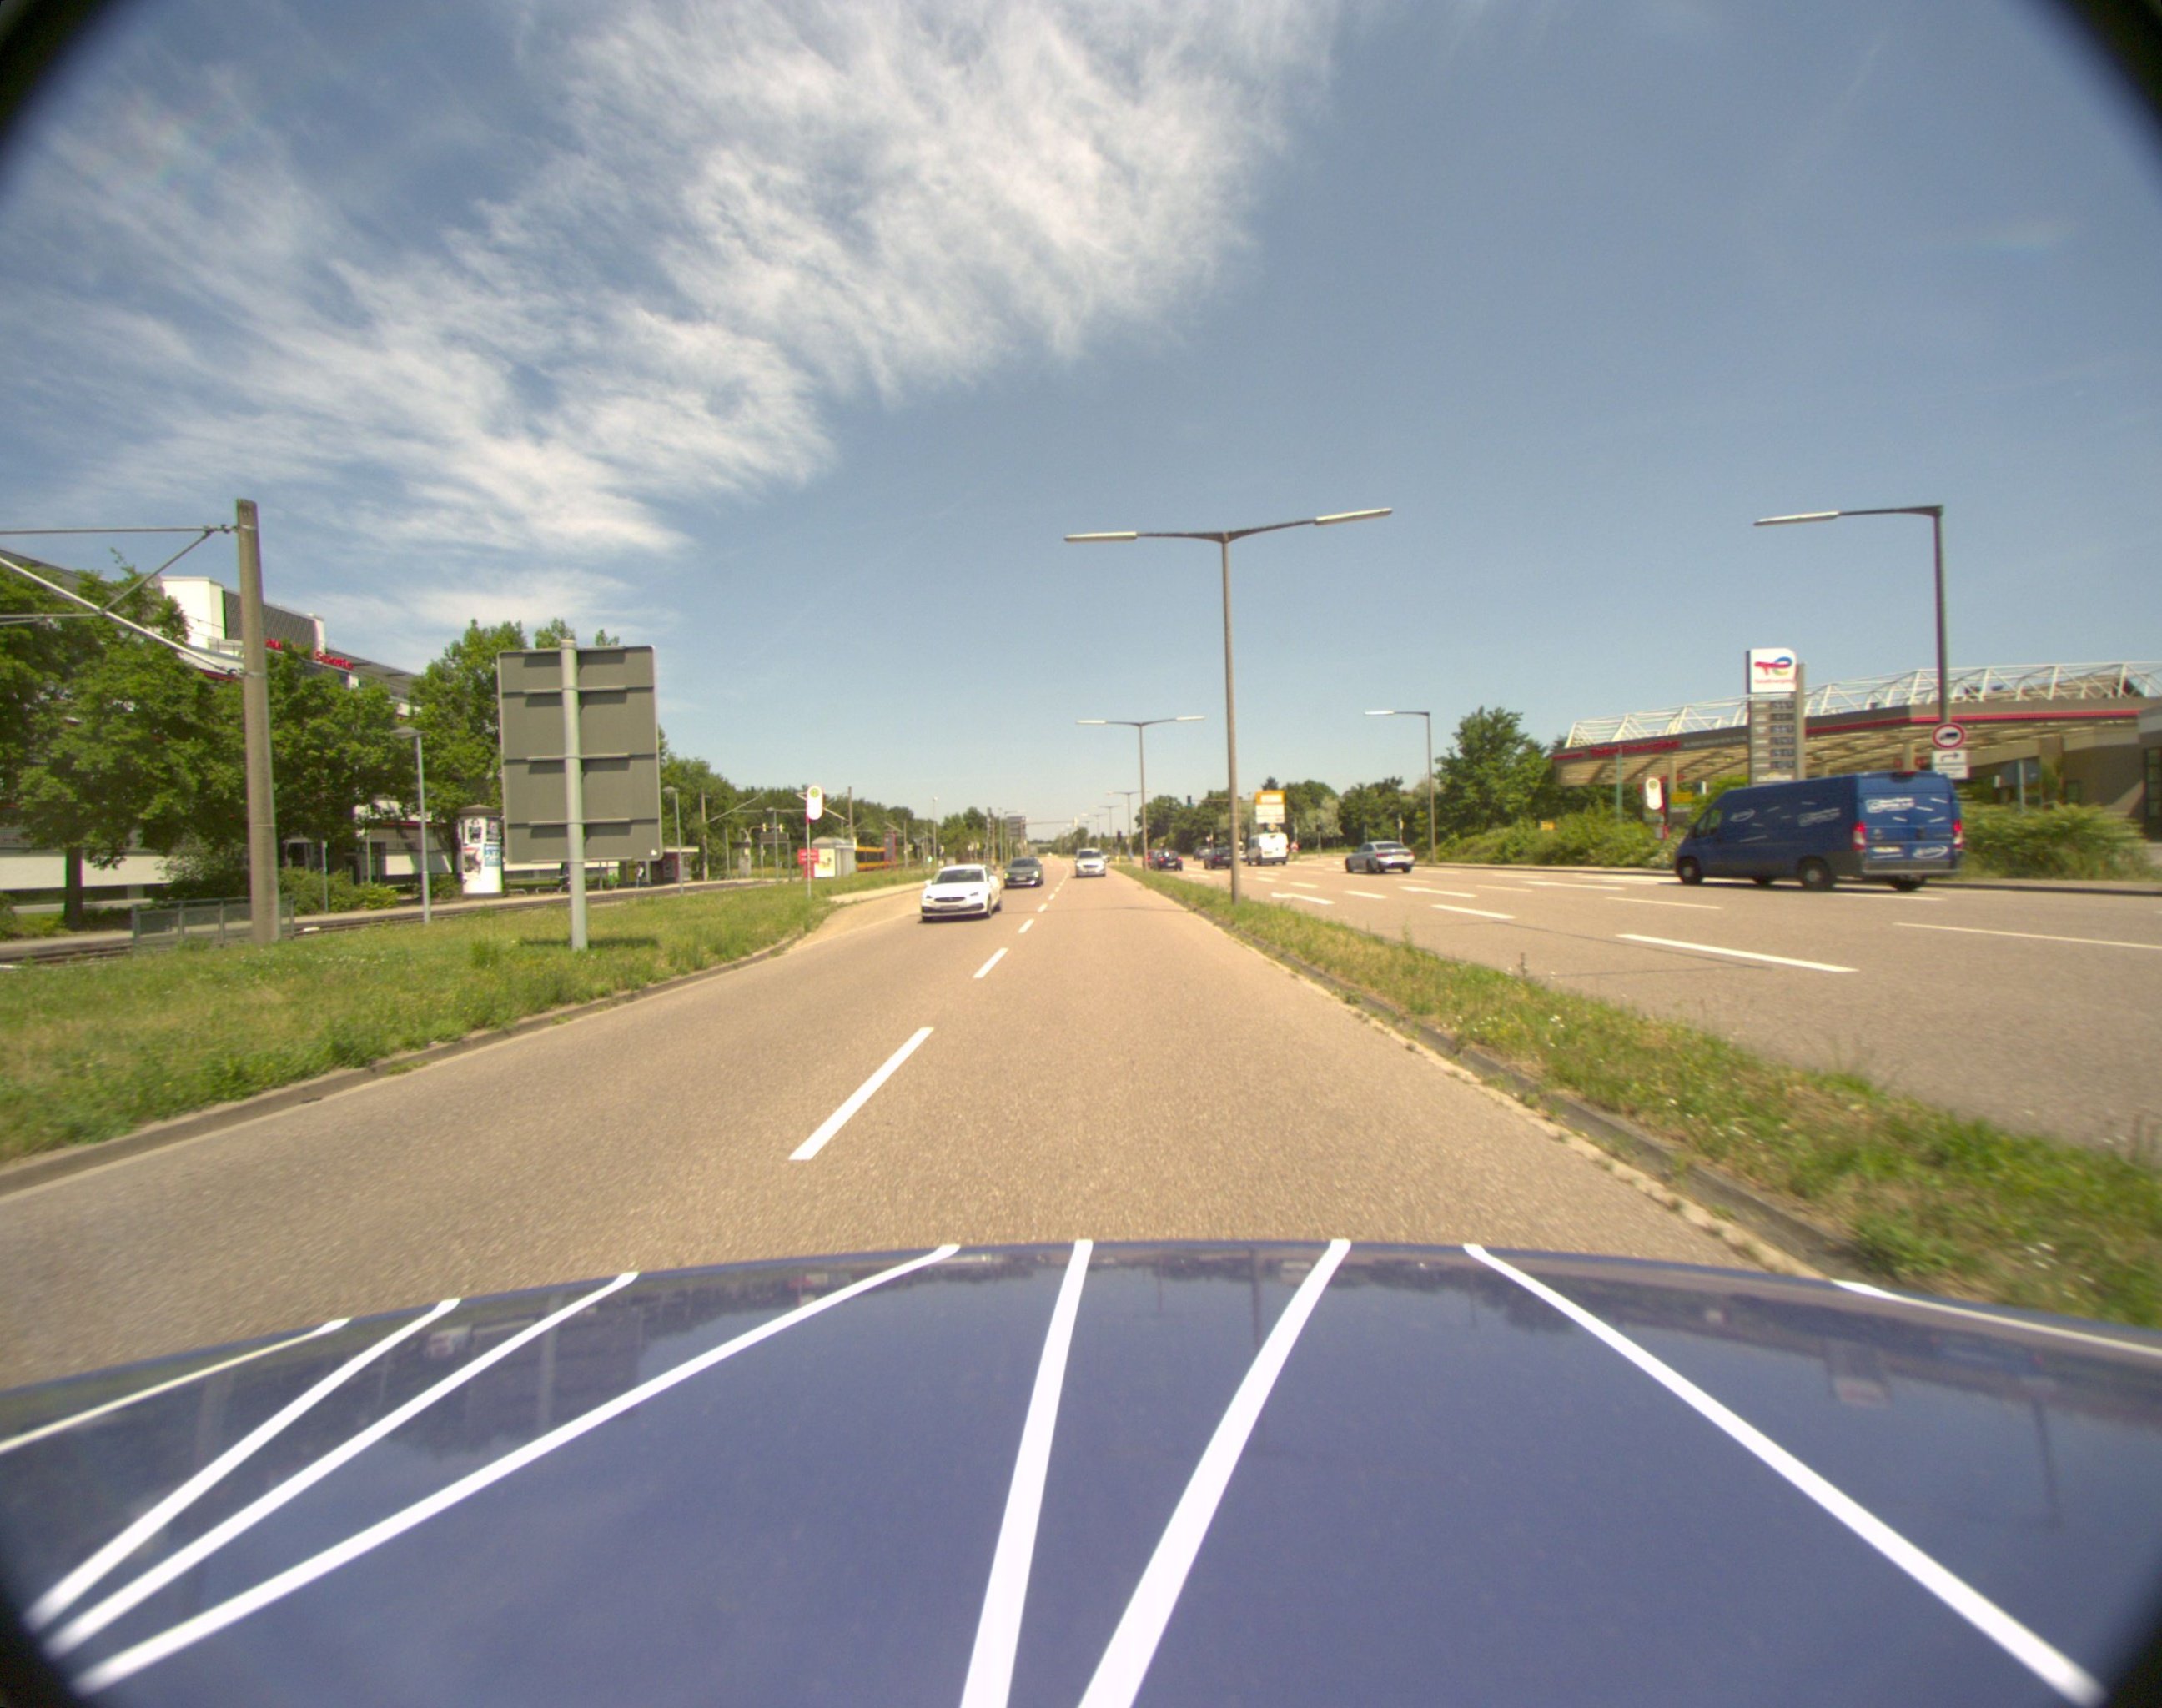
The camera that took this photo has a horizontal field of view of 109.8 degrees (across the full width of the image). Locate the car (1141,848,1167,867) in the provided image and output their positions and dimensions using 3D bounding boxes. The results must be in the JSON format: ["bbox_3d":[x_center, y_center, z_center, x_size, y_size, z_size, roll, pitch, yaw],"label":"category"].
[{"bbox_3d":[6.337,0.295,66.318,1.663,1.482,3.999,-2,0,-2],"label":"car"}]

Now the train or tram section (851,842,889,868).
[{"bbox_3d":[-30.828,0.119,111.445,2.822,3.561,12.496,-2,0,-4],"label":"train or tram section"}]

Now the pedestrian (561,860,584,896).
[{"bbox_3d":[-26.270,1.228,39.282,0.696,1.831,0.711,-4,2,-15],"label":"pedestrian"}]

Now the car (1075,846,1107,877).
[{"bbox_3d":[0.621,0.453,50.925,1.876,1.866,5.731,-3,0,0],"label":"car"}]

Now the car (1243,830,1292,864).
[{"bbox_3d":[13.733,-0.521,56.246,2.255,2.260,5.448,-3,1,1],"label":"car"}]

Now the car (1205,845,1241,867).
[{"bbox_3d":[9.850,0.110,52.935,1.735,1.449,4.564,-2,0,1],"label":"car"}]

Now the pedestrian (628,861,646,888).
[{"bbox_3d":[-27.156,1.275,46.473,0.553,1.599,0.690,-3,2,1],"label":"pedestrian"}]

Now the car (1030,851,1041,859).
[{"bbox_3d":[-9.559,0.194,161.215,1.998,1.652,4.000,-2,0,1],"label":"car"}]

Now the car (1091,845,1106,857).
[{"bbox_3d":[2.511,-0.391,109.094,1.785,1.658,4.530,-2,0,-2],"label":"car"}]

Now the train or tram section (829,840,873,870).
[{"bbox_3d":[-29.810,0.155,98.959,2.822,3.561,12.495,-2,0,-5],"label":"train or tram section"}]

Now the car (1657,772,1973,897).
[{"bbox_3d":[16.714,-0.400,17.921,2.178,2.397,5.672,-2,0,4],"label":"car"}]

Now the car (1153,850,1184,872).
[{"bbox_3d":[6.158,0.446,53.592,1.680,1.426,4.191,-3,0,0],"label":"car"}]

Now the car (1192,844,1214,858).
[{"bbox_3d":[13.784,-0.332,86.021,1.663,1.530,3.999,-4,0,-2],"label":"car"}]

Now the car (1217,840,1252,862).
[{"bbox_3d":[13.765,-0.309,68.336,1.970,1.740,5.021,-4,1,-1],"label":"car"}]

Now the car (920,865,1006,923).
[{"bbox_3d":[-3.199,1.033,21.385,1.686,1.381,4.450,0,0,1],"label":"car"}]

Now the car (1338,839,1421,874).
[{"bbox_3d":[13.696,0.110,35.176,1.836,1.441,4.850,-2,0,-1],"label":"car"}]

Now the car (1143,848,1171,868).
[{"bbox_3d":[5.863,0.318,58.904,1.565,1.415,3.853,-3,0,-2],"label":"car"}]

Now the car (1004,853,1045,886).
[{"bbox_3d":[-2.905,0.773,39.475,1.723,1.587,4.000,-2,0,1],"label":"car"}]
